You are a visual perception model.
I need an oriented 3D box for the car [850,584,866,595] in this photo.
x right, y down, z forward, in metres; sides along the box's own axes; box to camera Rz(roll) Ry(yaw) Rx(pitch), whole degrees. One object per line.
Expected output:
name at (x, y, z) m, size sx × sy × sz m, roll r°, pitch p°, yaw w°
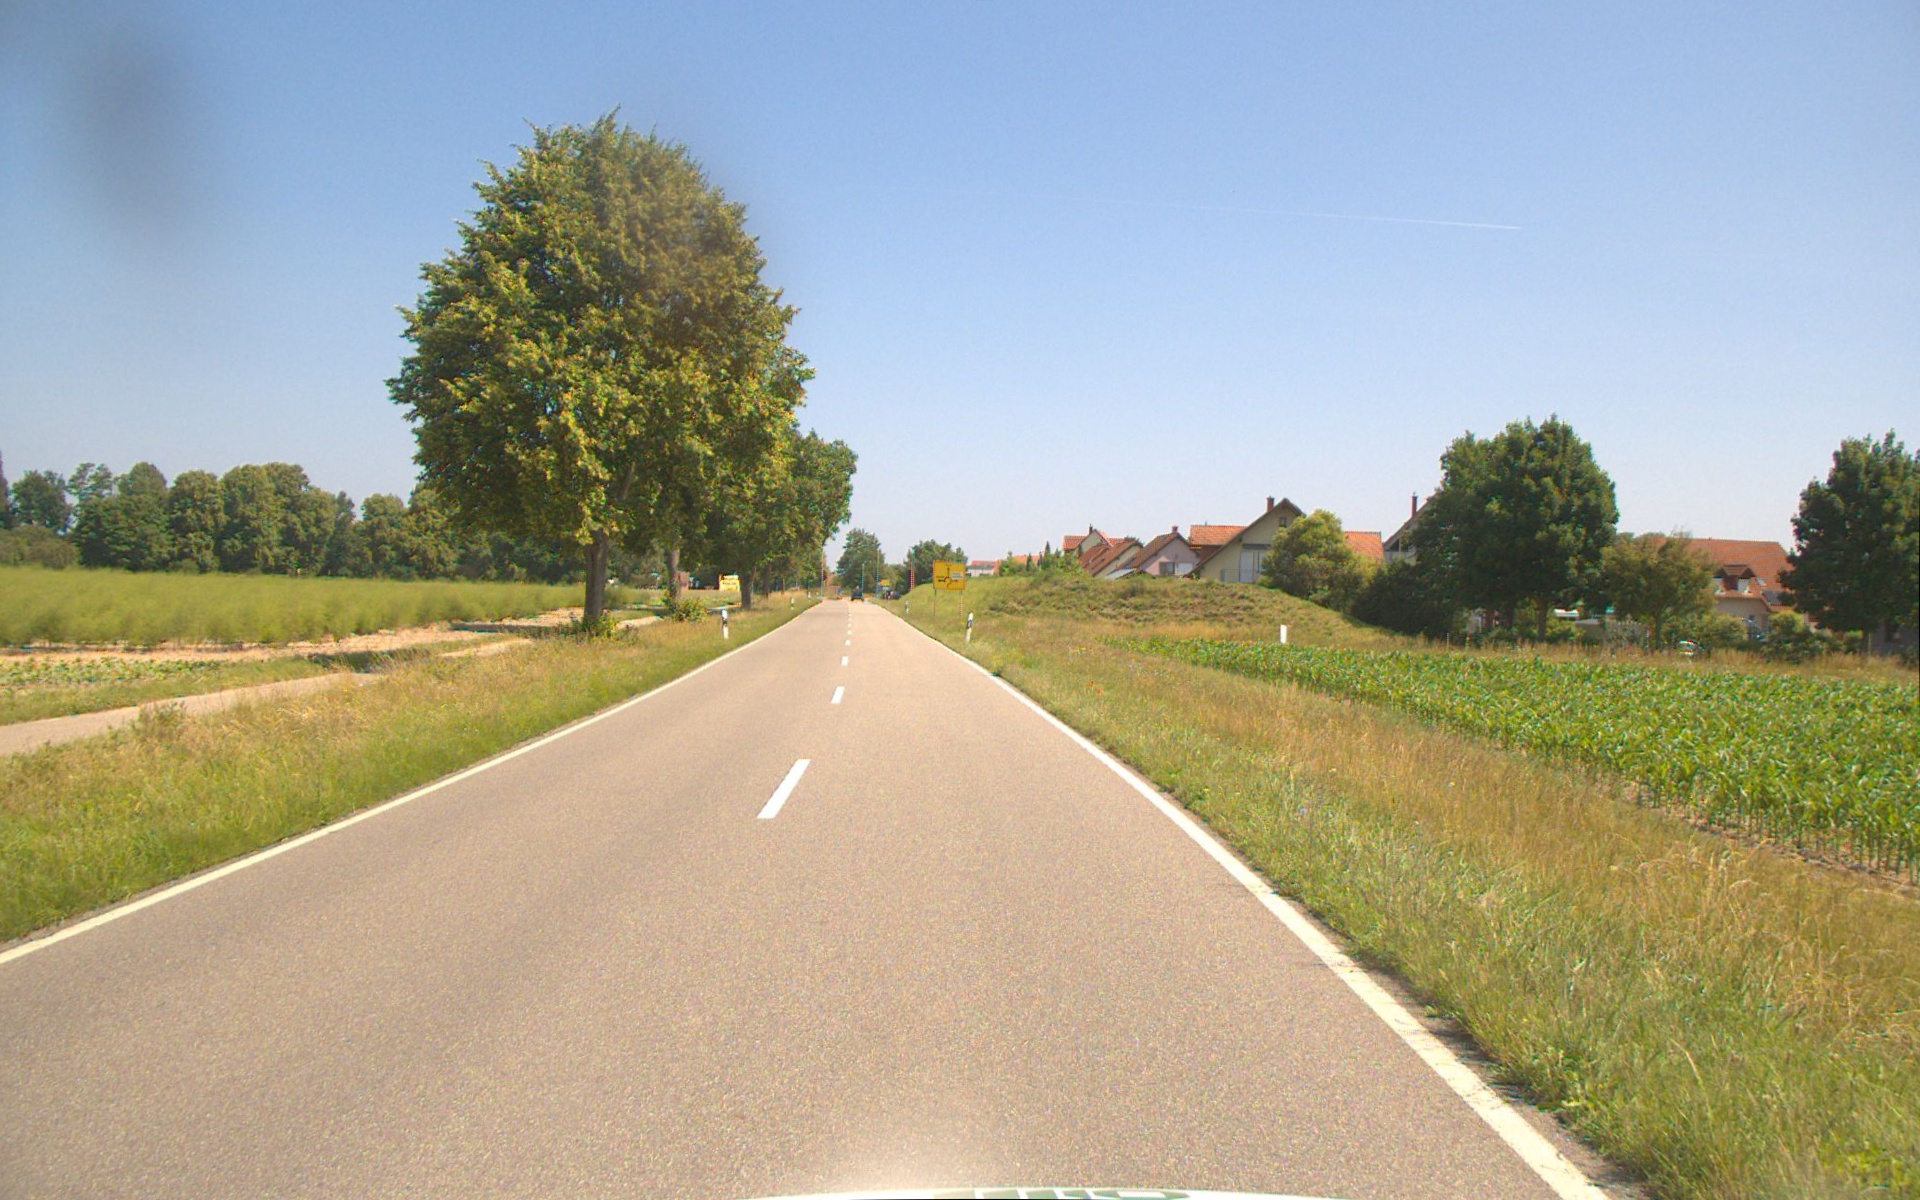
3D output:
car at (-14.322, -1.495, 232.319) m, size 1.800 × 1.563 × 3.611 m, roll 1°, pitch 0°, yaw 2°
